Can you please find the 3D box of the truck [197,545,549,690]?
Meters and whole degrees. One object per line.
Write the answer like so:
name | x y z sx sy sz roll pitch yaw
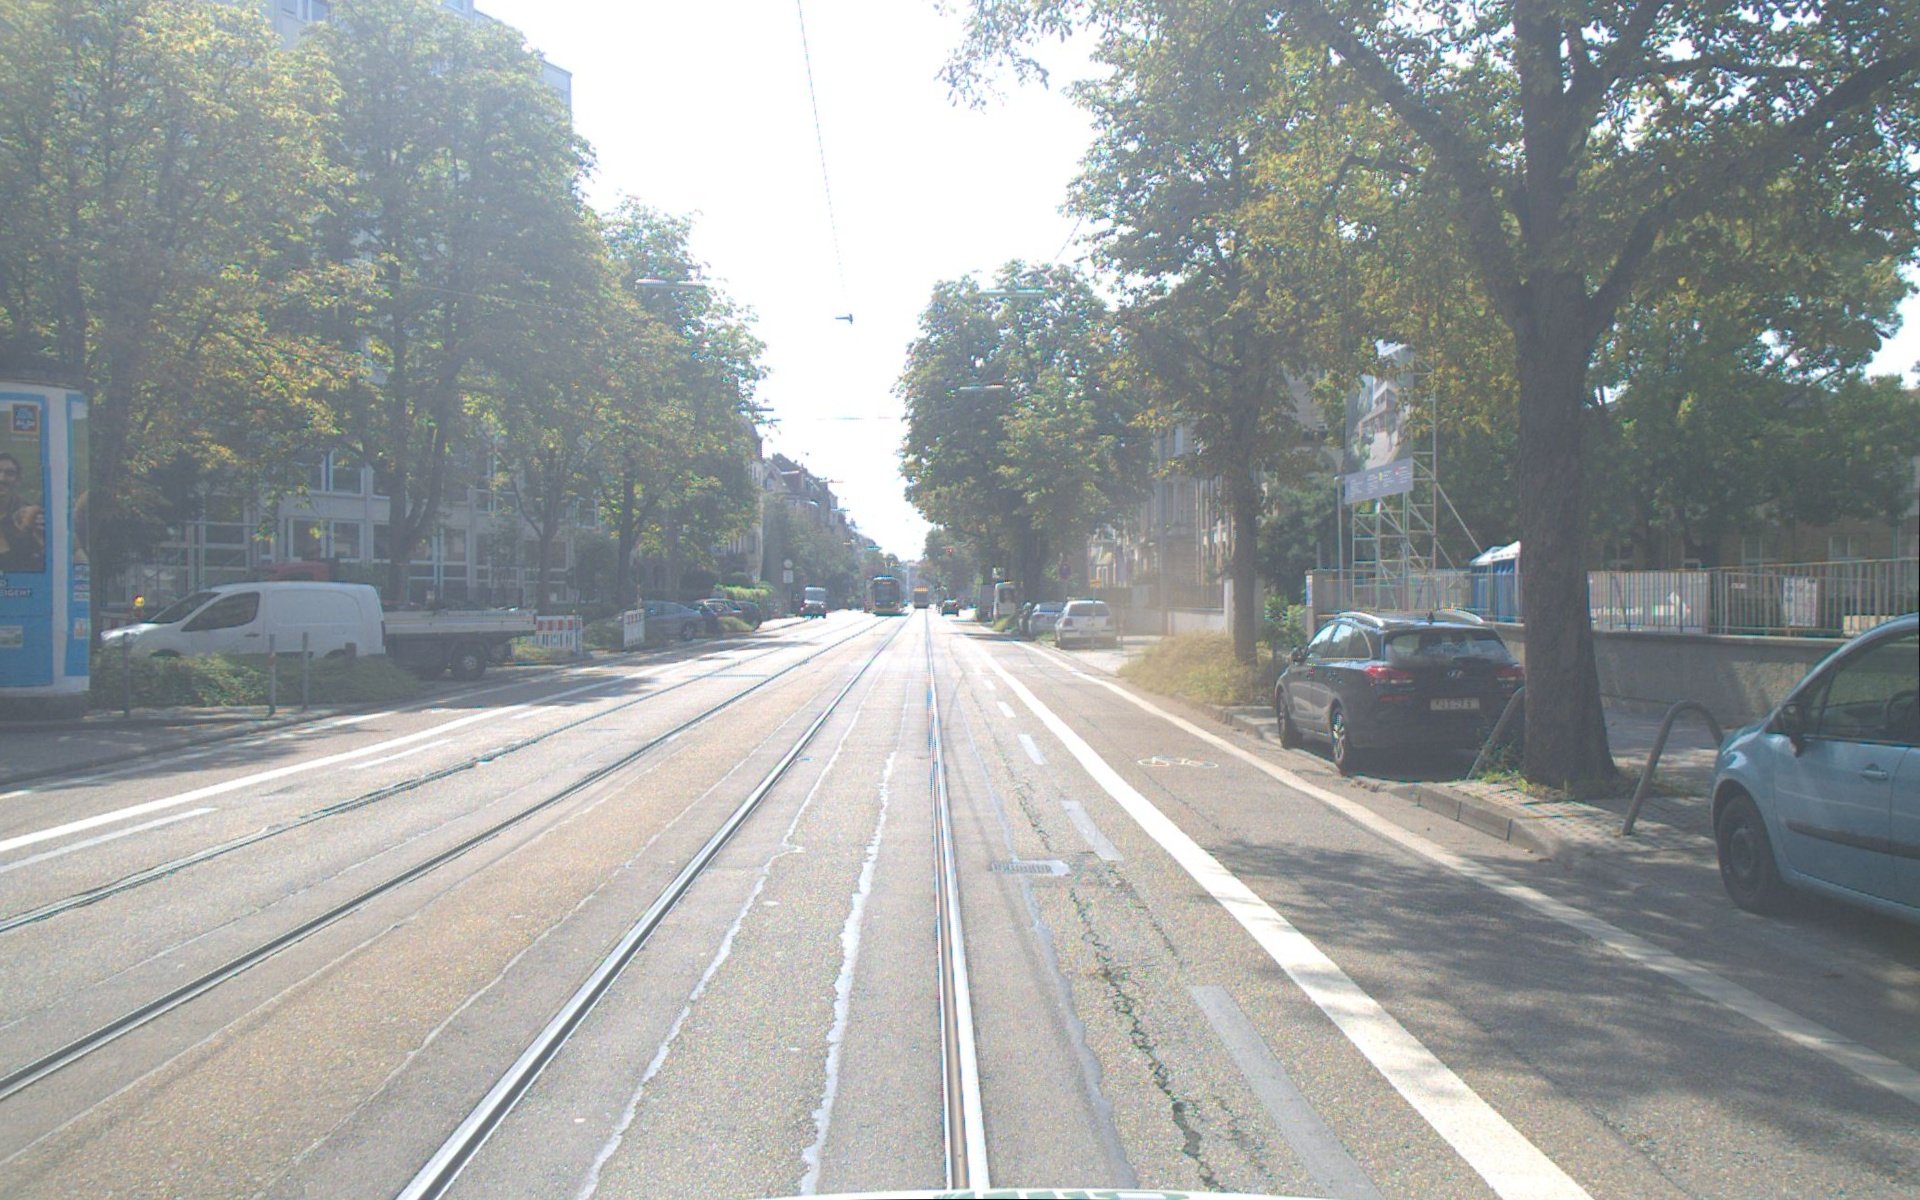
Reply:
truck | -10.908 0.262 31.068 5.915 2.477 2.119 -1 0 -41

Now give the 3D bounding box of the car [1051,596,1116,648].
car | 3.724 0.638 50.532 1.754 1.471 3.733 -1 0 1

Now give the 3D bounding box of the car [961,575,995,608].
car | 1.283 -0.627 119.008 1.955 2.272 3.995 0 0 -6

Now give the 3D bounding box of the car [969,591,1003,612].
car | 1.743 0.094 112.439 1.954 1.422 3.997 0 0 -4

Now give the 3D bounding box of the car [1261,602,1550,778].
car | 4.412 0.808 17.140 1.640 1.483 4.663 -1 1 -1

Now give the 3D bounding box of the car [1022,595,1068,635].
car | 3.562 0.602 69.931 1.757 1.604 4.000 0 0 0

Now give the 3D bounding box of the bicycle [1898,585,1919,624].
bicycle | 33.026 0.159 57.602 0.595 1.325 2.170 0 0 29

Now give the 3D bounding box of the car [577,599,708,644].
car | -11.515 0.755 60.277 1.647 1.477 4.661 0 2 42

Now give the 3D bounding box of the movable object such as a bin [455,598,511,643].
movable object such as a bin | -17.282 0.732 59.929 1.649 1.586 1.353 -1 0 -3

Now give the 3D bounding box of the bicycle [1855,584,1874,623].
bicycle | 31.849 0.124 58.239 0.595 1.325 2.170 0 0 29

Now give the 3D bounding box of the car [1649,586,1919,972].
car | 4.854 0.747 7.463 1.640 1.607 4.170 -2 0 -1

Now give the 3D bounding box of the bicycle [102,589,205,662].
bicycle | -18.298 0.571 37.515 2.290 1.552 0.602 2 0 19

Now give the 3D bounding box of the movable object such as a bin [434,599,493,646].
movable object such as a bin | -17.058 0.759 56.903 1.649 1.586 1.353 -1 0 -3

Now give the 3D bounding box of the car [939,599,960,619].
car | -1.048 0.877 158.580 1.953 1.832 3.999 1 0 -1

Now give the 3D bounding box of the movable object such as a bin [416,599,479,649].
movable object such as a bin | -16.678 0.770 53.900 1.649 1.586 1.353 -1 0 -3

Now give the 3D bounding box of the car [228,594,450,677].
car | -12.397 0.663 33.169 1.692 1.534 3.832 -1 0 45

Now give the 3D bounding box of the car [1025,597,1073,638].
car | 3.431 0.668 64.089 1.607 1.538 3.640 0 0 -1

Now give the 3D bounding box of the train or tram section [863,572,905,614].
train or tram section | -7.031 -0.701 155.119 3.425 3.769 12.411 0 1 0

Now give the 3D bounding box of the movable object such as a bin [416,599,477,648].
movable object such as a bin | -17.153 0.773 55.321 1.649 1.586 1.353 -1 0 -3

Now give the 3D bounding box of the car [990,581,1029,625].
car | 2.734 0.156 91.833 1.953 2.407 3.999 1 0 -1

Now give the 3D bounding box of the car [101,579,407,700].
car | -11.428 0.569 26.942 4.254 1.803 1.795 -1 1 -45

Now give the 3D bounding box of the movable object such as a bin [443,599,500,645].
movable object such as a bin | -17.265 0.755 58.519 1.649 1.586 1.353 -1 0 -3

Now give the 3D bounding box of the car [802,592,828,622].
car | -12.373 0.565 141.199 2.198 2.484 3.996 0 0 -5
